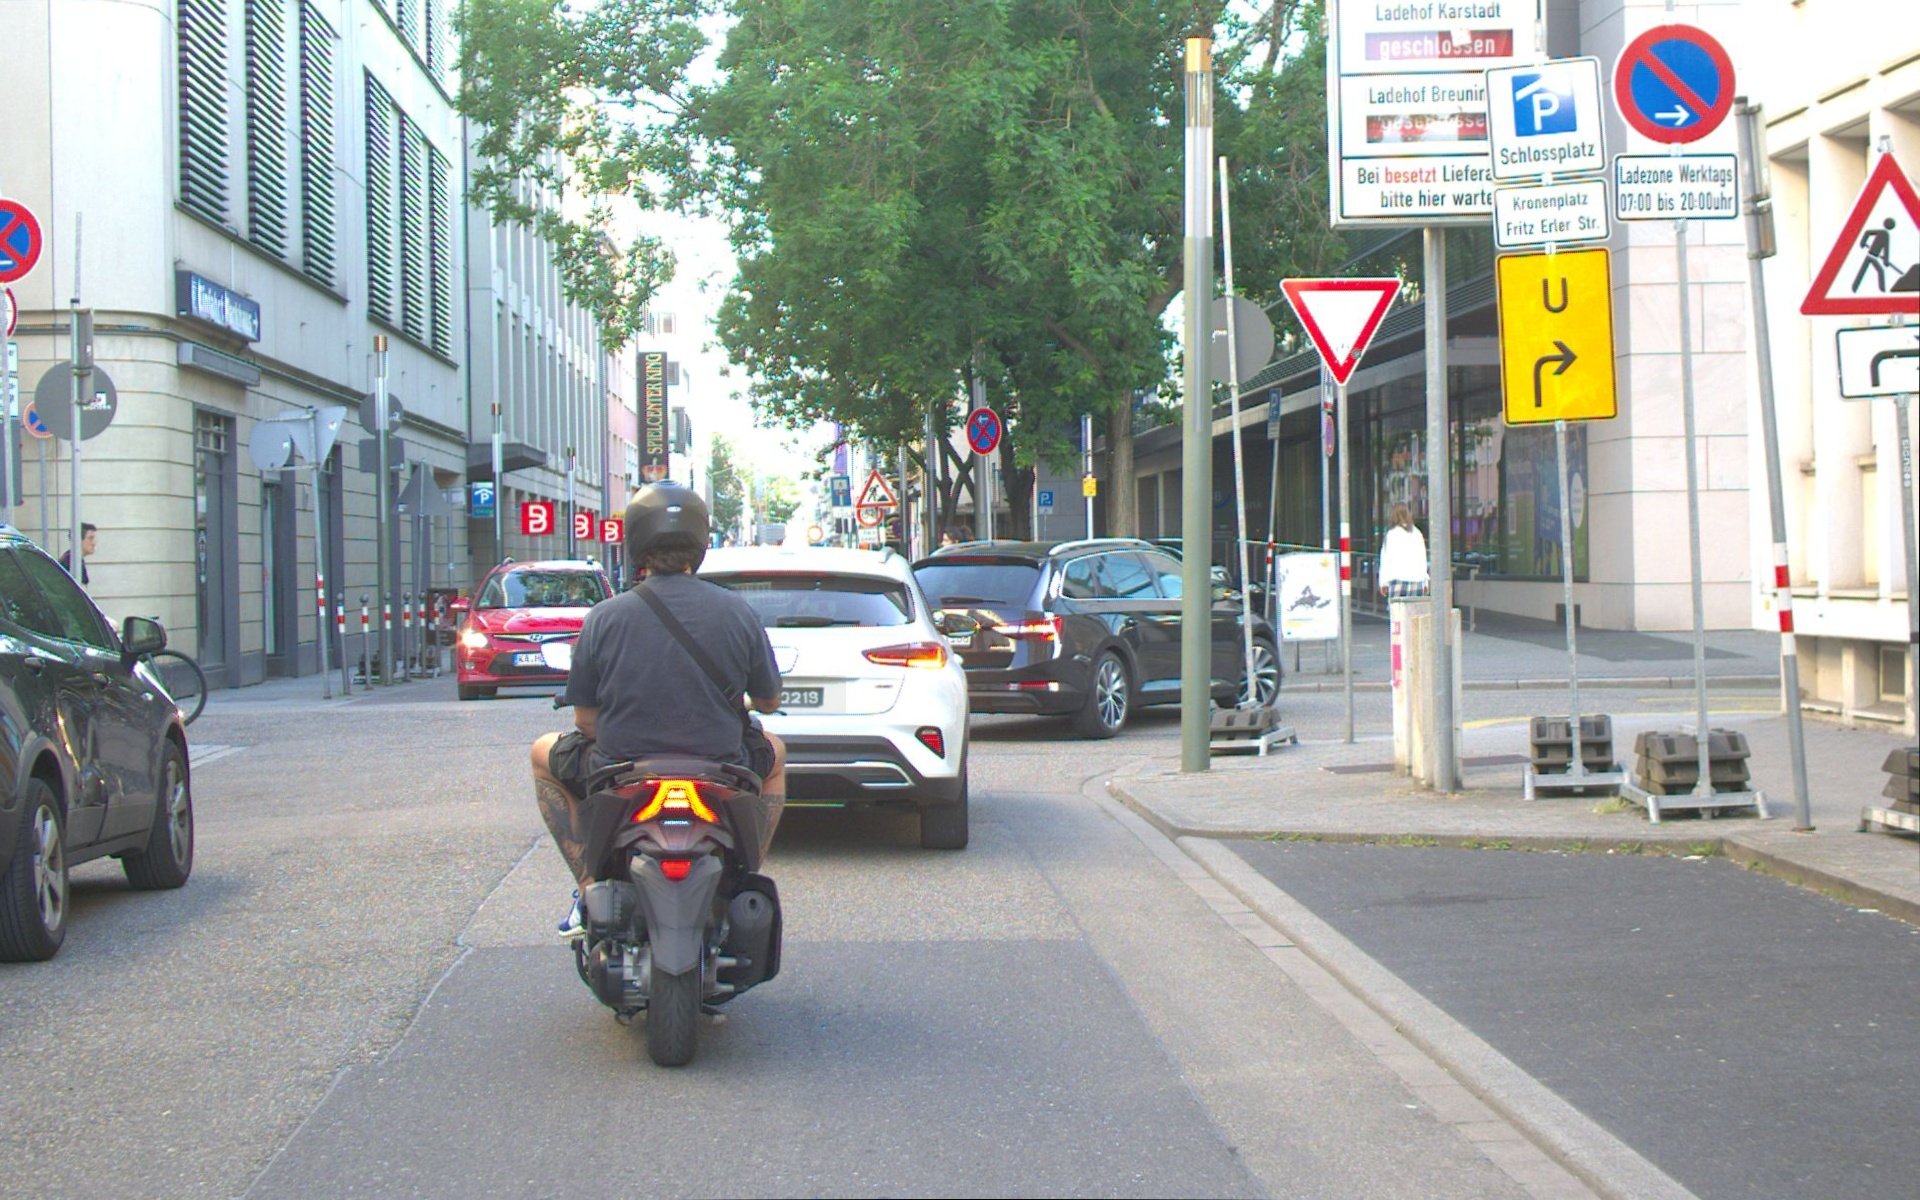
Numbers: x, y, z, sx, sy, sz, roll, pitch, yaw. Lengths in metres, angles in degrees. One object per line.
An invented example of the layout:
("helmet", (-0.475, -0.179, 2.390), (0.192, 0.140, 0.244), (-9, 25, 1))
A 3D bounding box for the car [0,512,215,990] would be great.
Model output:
("car", (-4.379, 0.527, 14.017), (1.822, 1.672, 4.264), (-3, 1, -2))

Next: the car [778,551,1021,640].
("car", (-1.325, -0.097, 73.562), (5.004, 1.494, 2.000), (-5, 0, -4))

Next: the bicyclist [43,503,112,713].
("bicyclist", (-7.332, 0.062, 28.563), (0.550, 1.726, 0.501), (0, 0, -15))

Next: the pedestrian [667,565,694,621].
("pedestrian", (-7.830, -0.198, 96.247), (0.732, 1.568, 0.636), (0, 0, -2))

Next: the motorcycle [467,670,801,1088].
("motorcycle", (-0.936, 0.784, 10.356), (0.872, 1.105, 1.840), (0, 0, -1))

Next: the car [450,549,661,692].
("car", (-4.384, 0.247, 37.796), (1.822, 1.460, 4.263), (-1, -1, 0))

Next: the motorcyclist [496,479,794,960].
("motorcyclist", (-0.943, 0.352, 10.407), (0.867, 1.422, 0.455), (0, 0, -1))

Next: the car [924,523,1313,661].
("car", (2.118, -0.114, 46.928), (5.004, 1.447, 2.000), (-5, 0, -4))

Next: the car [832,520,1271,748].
("car", (0.815, 0.196, 26.719), (1.825, 1.536, 4.359), (0, 2, 25))

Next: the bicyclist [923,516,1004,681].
("bicyclist", (0.035, -0.013, 34.164), (0.630, 1.620, 0.498), (0, 0, -31))

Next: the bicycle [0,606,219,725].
("bicycle", (-7.107, 0.538, 28.614), (1.814, 0.970, 0.511), (0, 0, -15))

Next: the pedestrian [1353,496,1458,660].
("pedestrian", (4.808, -0.239, 37.148), (0.905, 1.700, 0.834), (-4, 0, -1))

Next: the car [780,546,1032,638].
("car", (-1.149, -0.169, 71.067), (5.004, 1.494, 2.000), (-5, 0, -4))

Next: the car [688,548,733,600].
("car", (-11.544, -1.204, 158.884), (1.993, 2.321, 5.022), (1, 1, -5))

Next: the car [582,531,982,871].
("car", (-0.942, 0.422, 18.014), (1.822, 1.536, 4.264), (-1, 1, -3))

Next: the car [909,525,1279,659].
("car", (1.885, -0.122, 49.330), (5.004, 1.494, 2.000), (-5, 0, -4))
